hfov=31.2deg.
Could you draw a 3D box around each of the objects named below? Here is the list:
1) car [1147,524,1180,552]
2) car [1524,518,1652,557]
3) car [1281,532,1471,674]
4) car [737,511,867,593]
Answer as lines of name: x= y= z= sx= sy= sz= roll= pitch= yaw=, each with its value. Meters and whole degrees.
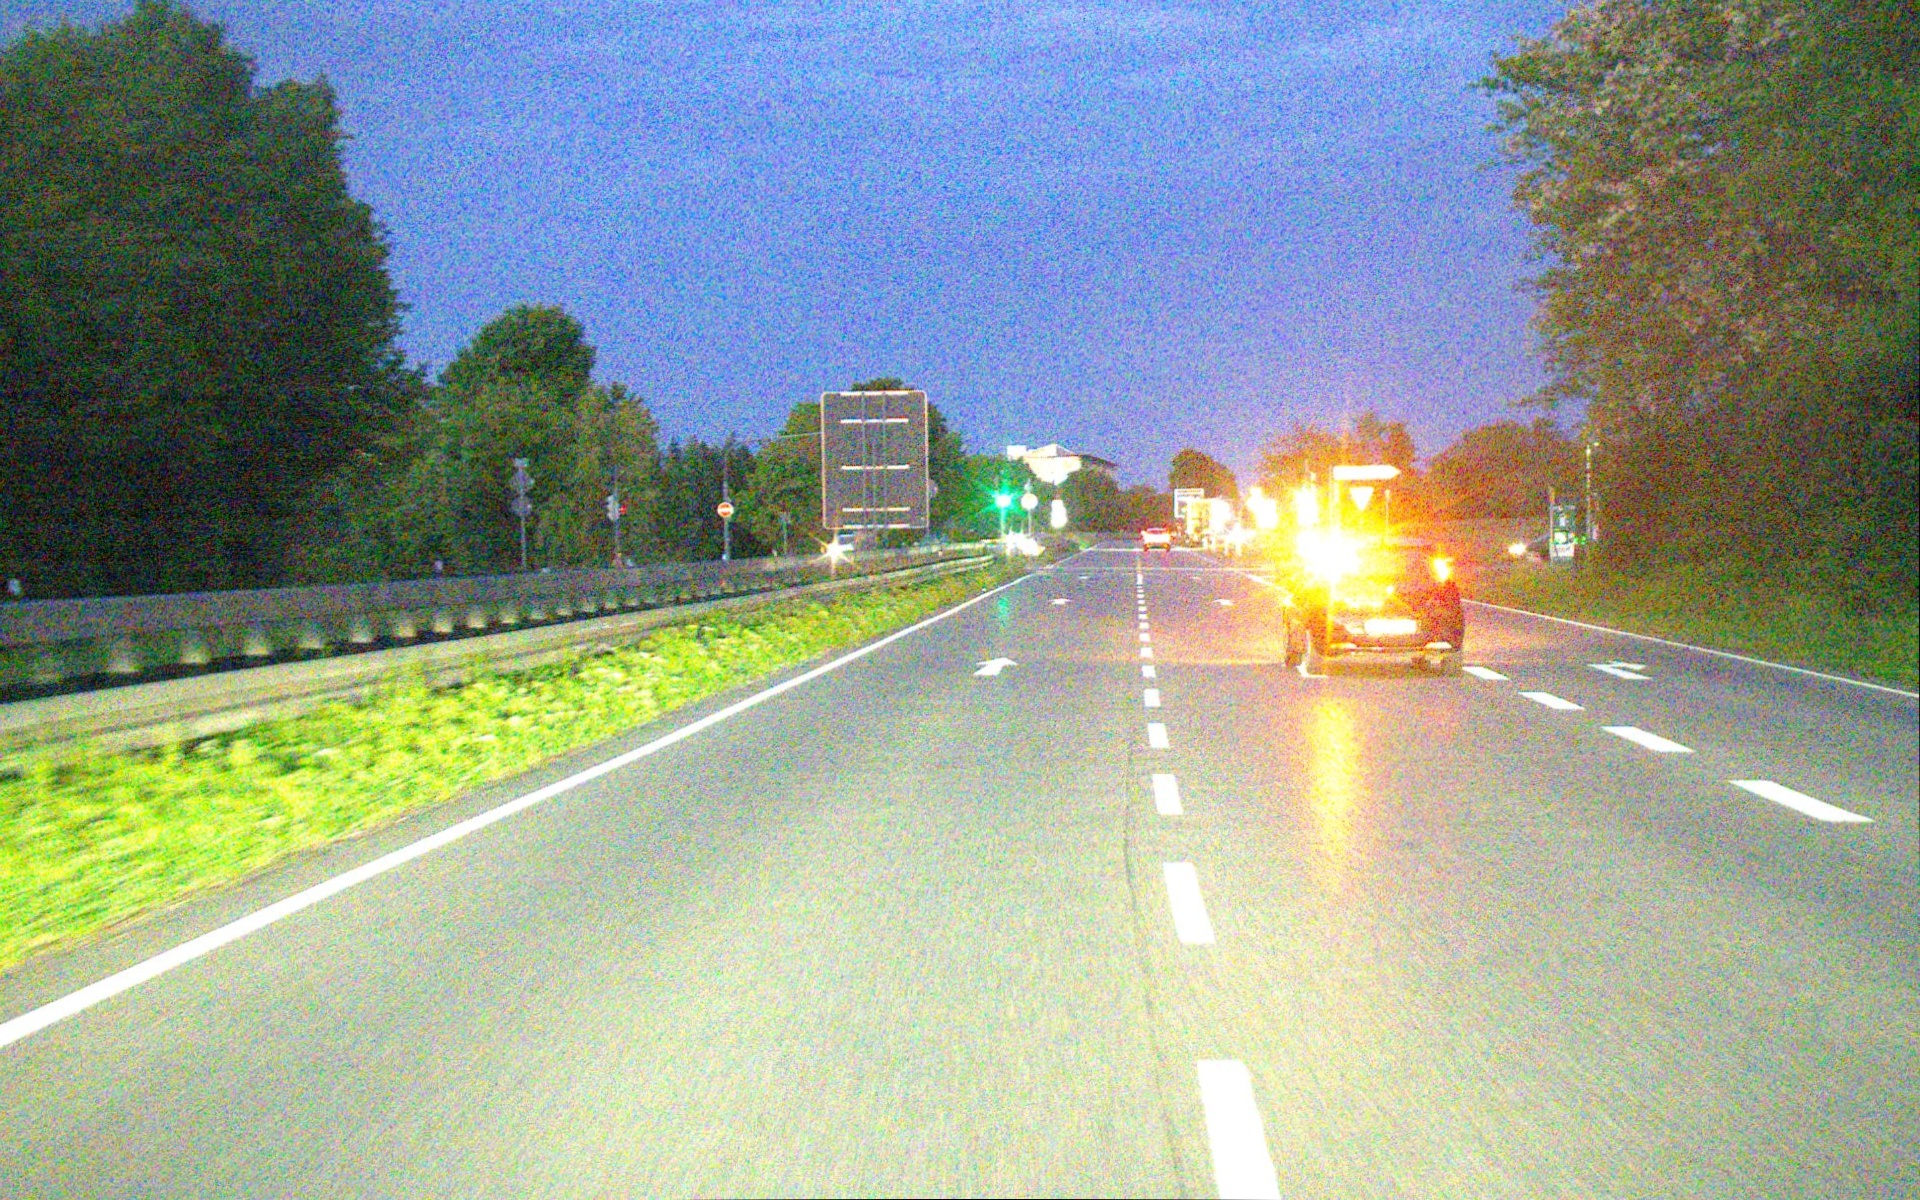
car: x=13.968 y=-4.281 z=236.418 sx=1.994 sy=1.744 sz=4.000 roll=-4 pitch=0 yaw=1
car: x=24.223 y=-2.431 z=132.704 sx=4.720 sy=1.448 sz=2.000 roll=0 pitch=1 yaw=6
car: x=4.537 y=-0.015 z=38.035 sx=1.753 sy=1.448 sz=4.433 roll=-1 pitch=1 yaw=3
car: x=-3.167 y=-0.971 z=69.903 sx=1.994 sy=1.448 sz=4.734 roll=-4 pitch=0 yaw=4
